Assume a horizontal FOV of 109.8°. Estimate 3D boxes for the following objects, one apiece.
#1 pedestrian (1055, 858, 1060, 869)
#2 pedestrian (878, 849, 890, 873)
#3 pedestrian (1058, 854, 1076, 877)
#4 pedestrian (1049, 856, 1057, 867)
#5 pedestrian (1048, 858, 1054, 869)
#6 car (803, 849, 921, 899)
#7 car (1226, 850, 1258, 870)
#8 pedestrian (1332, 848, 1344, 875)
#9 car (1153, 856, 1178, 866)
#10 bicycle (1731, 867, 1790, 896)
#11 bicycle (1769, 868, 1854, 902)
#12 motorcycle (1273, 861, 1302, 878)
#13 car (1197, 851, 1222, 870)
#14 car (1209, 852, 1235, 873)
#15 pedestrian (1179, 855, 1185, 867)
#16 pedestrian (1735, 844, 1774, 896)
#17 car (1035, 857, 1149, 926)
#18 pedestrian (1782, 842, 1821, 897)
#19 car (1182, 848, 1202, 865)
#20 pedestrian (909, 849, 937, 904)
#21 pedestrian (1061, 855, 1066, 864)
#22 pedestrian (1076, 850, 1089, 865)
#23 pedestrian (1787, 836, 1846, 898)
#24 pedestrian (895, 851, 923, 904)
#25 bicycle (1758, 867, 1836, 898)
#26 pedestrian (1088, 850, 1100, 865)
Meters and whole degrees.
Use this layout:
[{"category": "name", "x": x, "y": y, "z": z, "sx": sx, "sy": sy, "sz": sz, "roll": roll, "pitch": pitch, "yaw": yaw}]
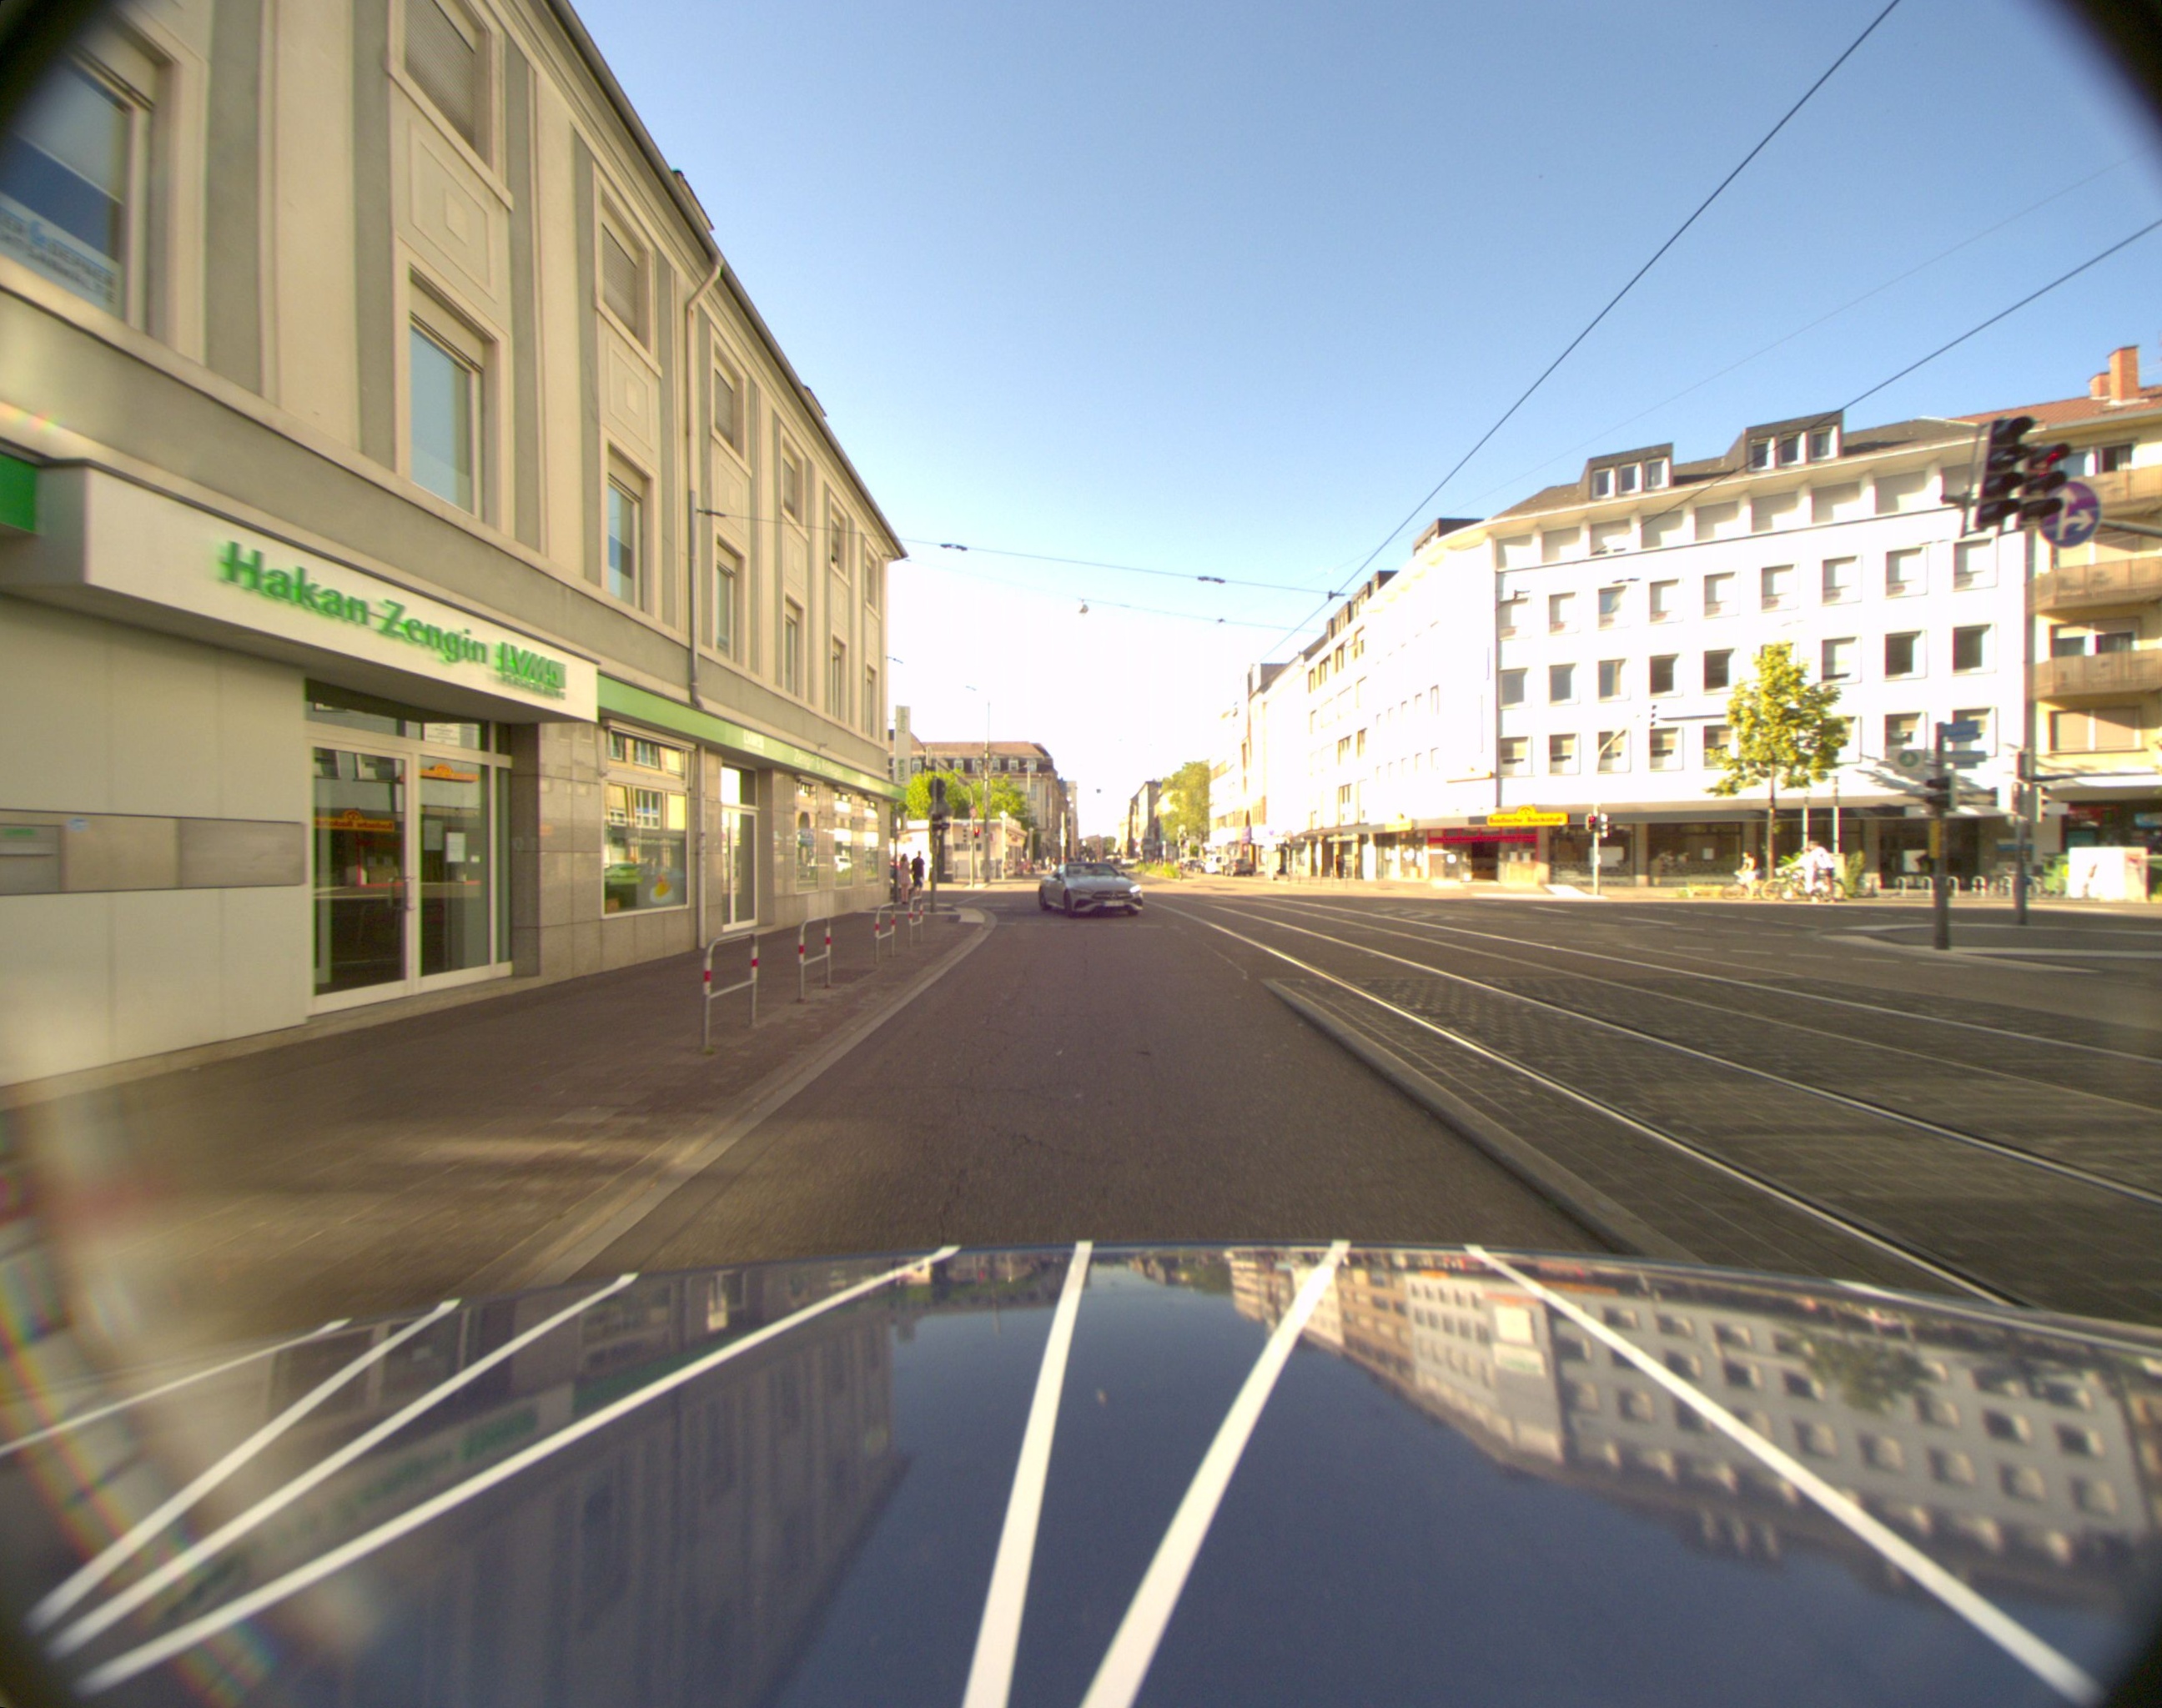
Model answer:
[{"category": "pedestrian", "x": -2.612, "y": 1.024, "z": 84.024, "sx": 0.509, "sy": 1.266, "sz": 0.719, "roll": 0, "pitch": 0, "yaw": -3}, {"category": "pedestrian", "x": -14.119, "y": 0.493, "z": 54.498, "sx": 0.610, "sy": 1.699, "sz": 0.521, "roll": 0, "pitch": 0, "yaw": 25}, {"category": "pedestrian", "x": -1.014, "y": 0.833, "z": 54.362, "sx": 0.947, "sy": 1.653, "sz": 0.914, "roll": 0, "pitch": 0, "yaw": -42}, {"category": "pedestrian", "x": -3.850, "y": 1.017, "z": 104.720, "sx": 0.946, "sy": 1.456, "sz": 0.780, "roll": 0, "pitch": 0, "yaw": 2}, {"category": "pedestrian", "x": -3.259, "y": 1.059, "z": 83.702, "sx": 0.622, "sy": 1.266, "sz": 0.780, "roll": 0, "pitch": 0, "yaw": 0}, {"category": "car", "x": -8.785, "y": 0.787, "z": 30.668, "sx": 4.093, "sy": 1.860, "sz": 1.911, "roll": -1, "pitch": 2, "yaw": 4}, {"category": "car", "x": 14.162, "y": 0.548, "z": 67.011, "sx": 1.998, "sy": 1.696, "sz": 4.000, "roll": -1, "pitch": 0, "yaw": 1}, {"category": "pedestrian", "x": 16.325, "y": 0.490, "z": 48.208, "sx": 0.710, "sy": 1.699, "sz": 0.561, "roll": 0, "pitch": 0, "yaw": 22}, {"category": "car", "x": 14.510, "y": 1.199, "z": 130.609, "sx": 3.996, "sy": 1.787, "sz": 2.000, "roll": 0, "pitch": 0, "yaw": 1}, {"category": "bicycle", "x": 22.774, "y": 0.927, "z": 25.483, "sx": 1.453, "sy": 0.950, "sz": 0.482, "roll": 0, "pitch": 0, "yaw": 11}, {"category": "bicycle", "x": 22.593, "y": 0.961, "z": 23.536, "sx": 1.722, "sy": 1.001, "sz": 0.762, "roll": 0, "pitch": -3, "yaw": 13}, {"category": "motorcycle", "x": 18.094, "y": 1.344, "z": 66.586, "sx": 2.254, "sy": 1.496, "sz": 1.000, "roll": 0, "pitch": 0, "yaw": -2}, {"category": "car", "x": 13.652, "y": 0.678, "z": 80.966, "sx": 1.998, "sy": 2.002, "sz": 4.000, "roll": -1, "pitch": 0, "yaw": 1}, {"category": "car", "x": 13.950, "y": 0.810, "z": 75.299, "sx": 1.998, "sy": 2.002, "sz": 4.844, "roll": -1, "pitch": 0, "yaw": 4}, {"category": "pedestrian", "x": 14.198, "y": 0.976, "z": 106.829, "sx": 0.578, "sy": 1.705, "sz": 0.708, "roll": 0, "pitch": 1, "yaw": 44}, {"category": "pedestrian", "x": 22.546, "y": 0.525, "z": 25.440, "sx": 0.653, "sy": 1.702, "sz": 0.793, "roll": -1, "pitch": 1, "yaw": 10}, {"category": "car", "x": 0.163, "y": 0.903, "z": 20.381, "sx": 1.912, "sy": 1.454, "sz": 4.357, "roll": -2, "pitch": 2, "yaw": -15}, {"category": "pedestrian", "x": 22.946, "y": 0.488, "z": 24.194, "sx": 0.558, "sy": 1.718, "sz": 0.781, "roll": 0, "pitch": 1, "yaw": 10}, {"category": "car", "x": 13.447, "y": 0.295, "z": 92.249, "sx": 1.998, "sy": 2.002, "sz": 4.000, "roll": -1, "pitch": 0, "yaw": 1}, {"category": "pedestrian", "x": -5.338, "y": 0.752, "z": 25.698, "sx": 0.680, "sy": 1.831, "sz": 0.643, "roll": 0, "pitch": 0, "yaw": 24}, {"category": "pedestrian", "x": -2.696, "y": 0.858, "z": 117.808, "sx": 0.691, "sy": 1.372, "sz": 0.780, "roll": 0, "pitch": 0, "yaw": 2}, {"category": "pedestrian", "x": 0.187, "y": 0.680, "z": 137.948, "sx": 1.946, "sy": 2.774, "sz": 1.382, "roll": 0, "pitch": 1, "yaw": 44}, {"category": "pedestrian", "x": 22.716, "y": 0.413, "z": 23.484, "sx": 1.000, "sy": 1.855, "sz": 0.781, "roll": -1, "pitch": -2, "yaw": 10}, {"category": "pedestrian", "x": -5.814, "y": 0.782, "z": 25.695, "sx": 0.648, "sy": 1.749, "sz": 0.575, "roll": 0, "pitch": 1, "yaw": 24}, {"category": "bicycle", "x": 22.860, "y": 0.907, "z": 24.282, "sx": 1.791, "sy": 0.962, "sz": 0.554, "roll": 0, "pitch": 0, "yaw": 13}, {"category": "pedestrian", "x": 2.317, "y": 0.653, "z": 138.320, "sx": 1.834, "sy": 2.774, "sz": 1.296, "roll": 0, "pitch": 1, "yaw": 44}]
